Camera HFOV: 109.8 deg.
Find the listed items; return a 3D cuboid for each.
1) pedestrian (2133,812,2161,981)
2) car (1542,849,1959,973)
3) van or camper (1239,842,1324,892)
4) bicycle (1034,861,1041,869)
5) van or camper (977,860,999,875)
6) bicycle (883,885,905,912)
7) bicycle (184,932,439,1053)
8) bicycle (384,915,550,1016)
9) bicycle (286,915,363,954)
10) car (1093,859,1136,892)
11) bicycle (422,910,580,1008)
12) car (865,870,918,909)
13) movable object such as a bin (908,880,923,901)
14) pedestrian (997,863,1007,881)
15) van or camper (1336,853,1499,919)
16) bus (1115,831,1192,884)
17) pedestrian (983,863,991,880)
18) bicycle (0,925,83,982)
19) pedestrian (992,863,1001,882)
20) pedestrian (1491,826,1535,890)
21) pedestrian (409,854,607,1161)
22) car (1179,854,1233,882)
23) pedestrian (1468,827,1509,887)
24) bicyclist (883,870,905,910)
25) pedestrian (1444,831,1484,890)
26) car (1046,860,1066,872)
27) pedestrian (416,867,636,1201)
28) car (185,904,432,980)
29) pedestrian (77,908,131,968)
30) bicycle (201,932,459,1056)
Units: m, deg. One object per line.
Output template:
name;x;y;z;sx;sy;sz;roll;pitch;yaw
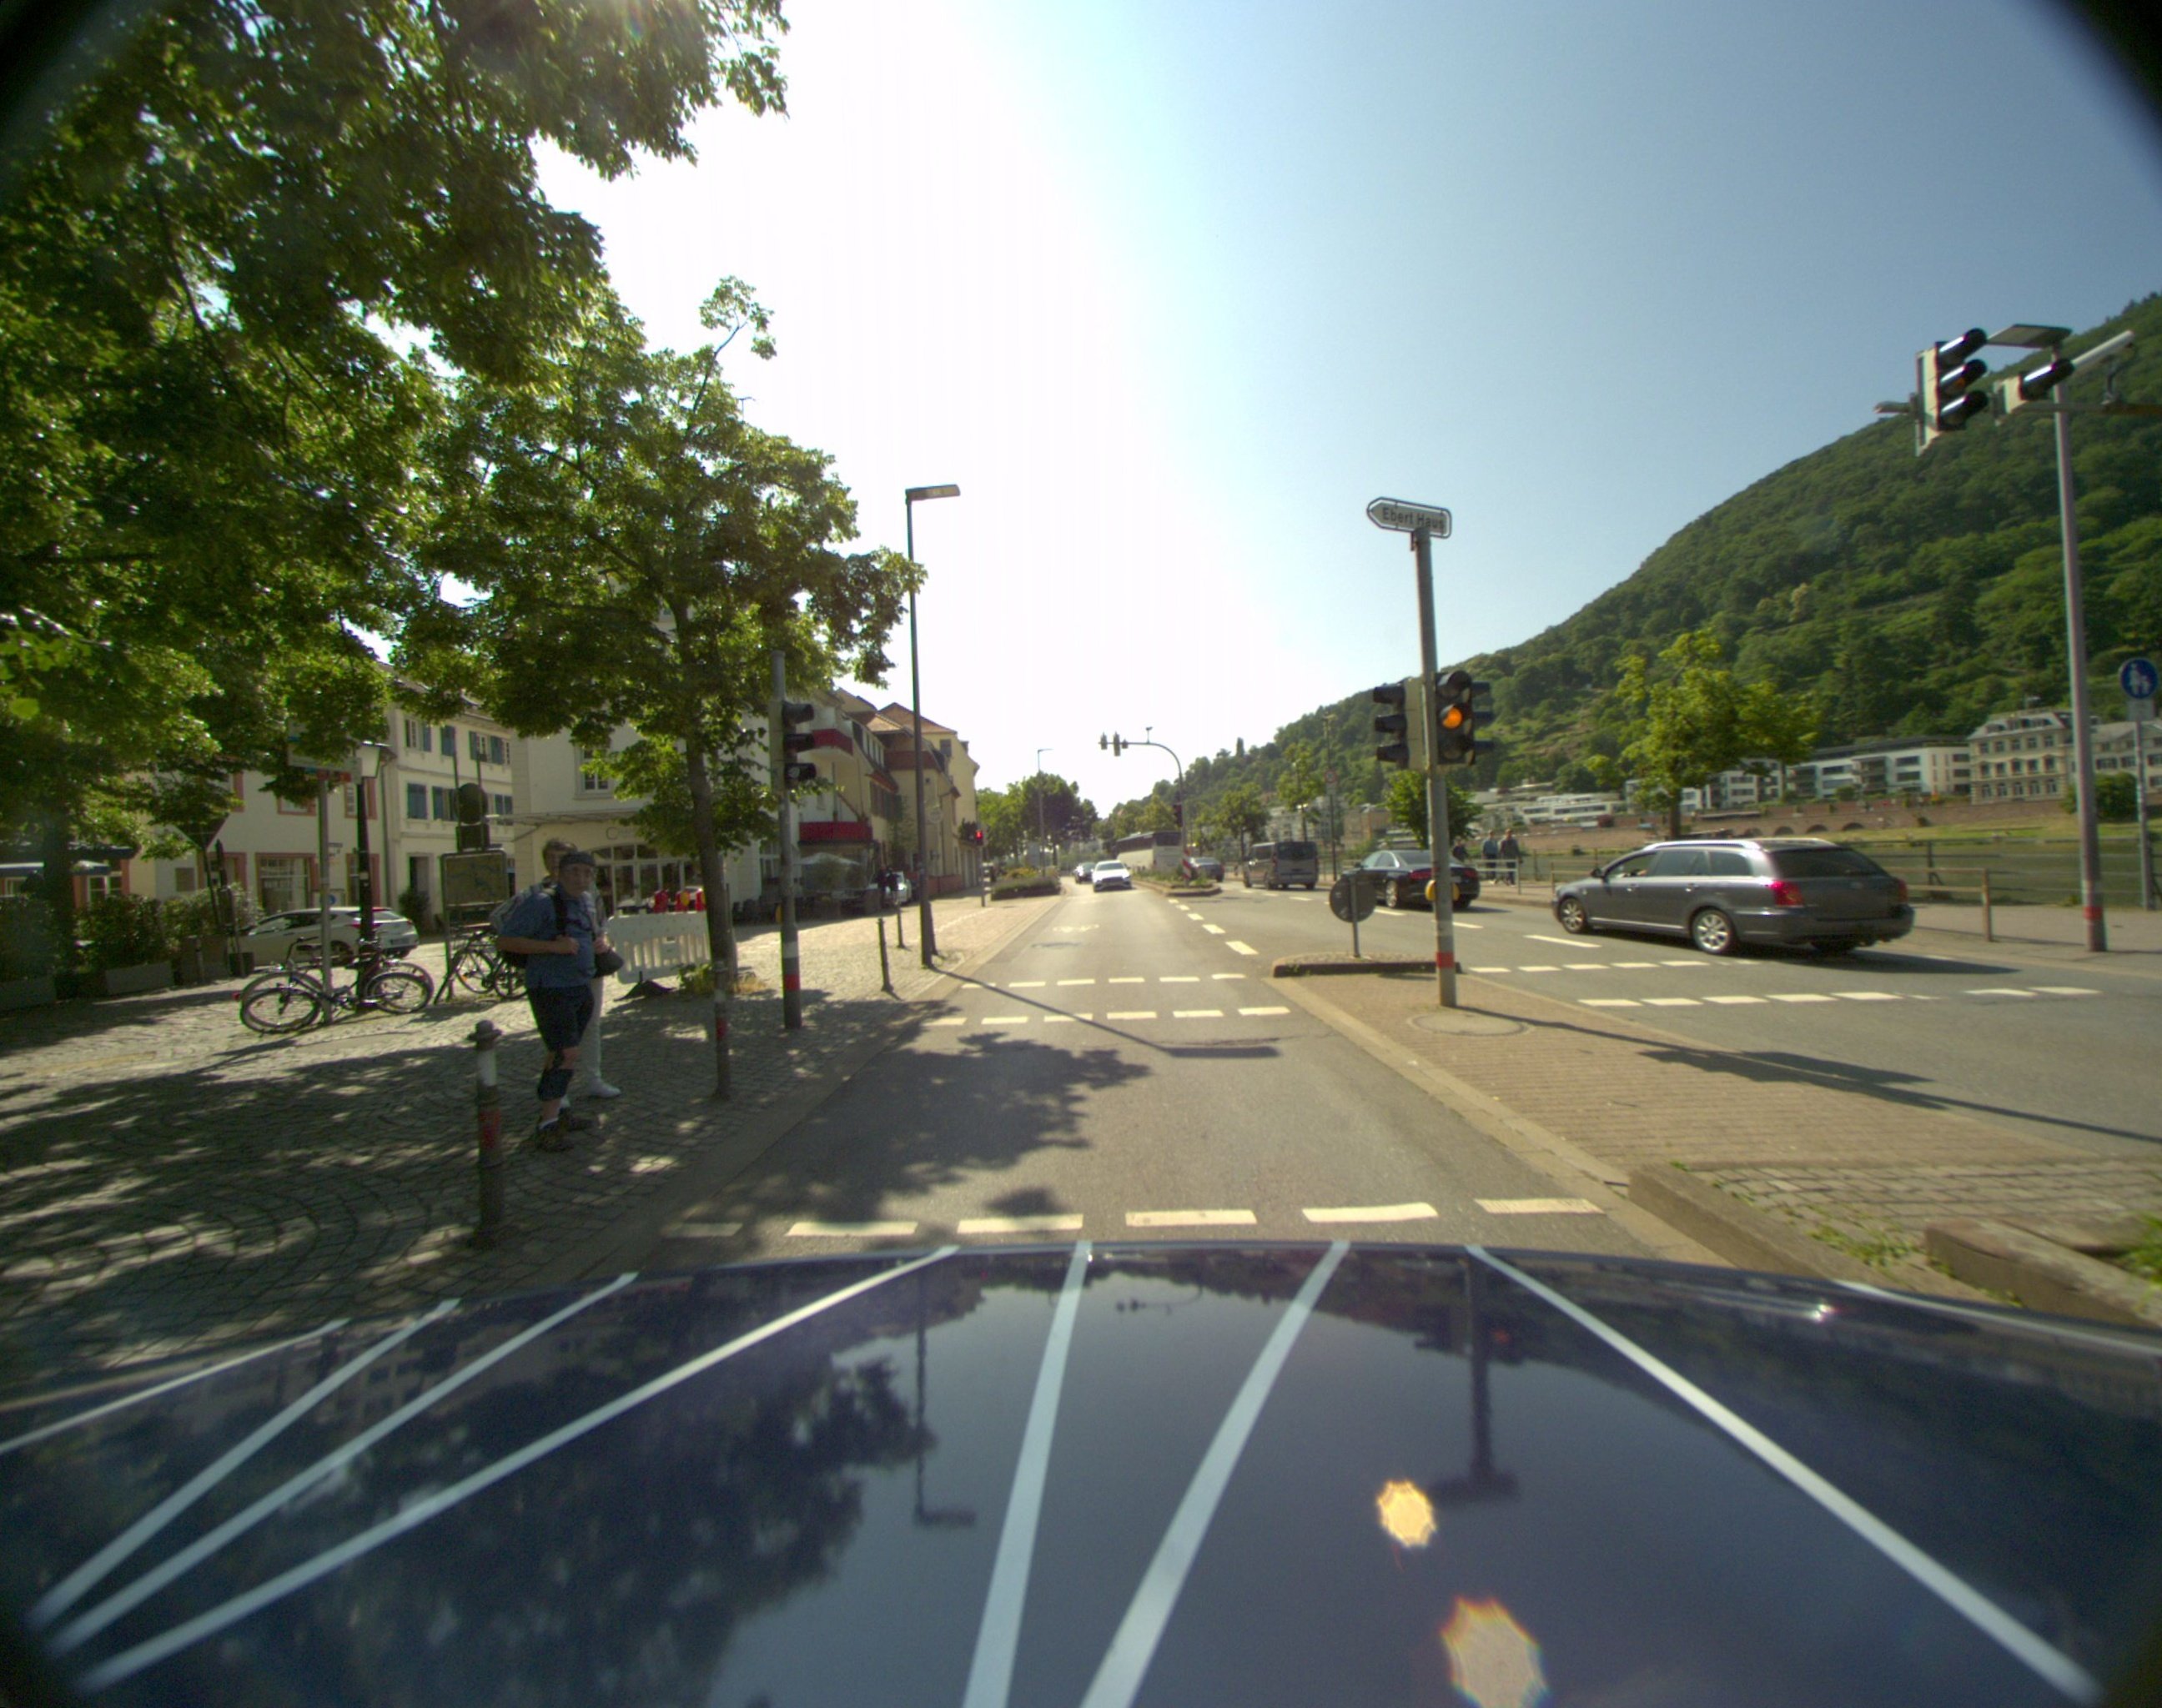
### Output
pedestrian;11.740;0.422;7.786;0.696;1.770;0.763;-8;1;-8
car;9.044;0.661;10.971;1.957;1.400;4.570;0;0;-1
van or camper;8.231;0.514;31.740;1.999;1.862;5.179;-2;0;-2
bicycle;-6.911;1.758;120.443;0.714;1.161;1.894;-3;-1;-12
van or camper;-15.254;2.259;124.493;2.440;2.271;6.196;-3;0;-17
bicycle;-7.617;1.810;31.026;0.752;0.958;1.780;-3;0;-12
bicycle;-9.106;1.577;9.140;0.595;1.061;2.068;-2;0;19
bicycle;-8.294;1.504;10.266;2.015;1.191;0.522;-4;0;11
bicycle;-26.638;2.821;26.774;1.880;1.185;0.639;-3;-1;-9
car;1.631;1.040;37.544;1.875;1.415;4.745;-4;-1;2
bicycle;-8.210;1.484;10.768;2.002;1.191;0.522;-5;-1;11
car;-8.784;1.582;35.543;1.883;1.568;4.724;-3;0;-9
movable object such as a bin;-8.492;1.882;39.084;0.642;1.061;0.365;-3;0;0
pedestrian;-7.189;1.647;69.351;0.764;1.586;0.695;-3;0;-8
van or camper;8.528;0.723;19.865;1.998;1.468;5.065;-1;0;0
bus;5.327;0.274;59.225;2.640;3.543;12.972;-3;0;-9
pedestrian;-9.841;1.833;79.180;0.764;1.703;0.695;0;0;-13
bicycle;-26.525;2.490;19.132;0.658;1.271;1.764;-2;-2;-11
pedestrian;-7.731;1.669;69.279;0.740;1.688;0.933;-2;0;-8
pedestrian;12.963;0.128;22.813;0.764;1.847;0.695;-5;0;-8
pedestrian;-3.584;0.894;4.826;0.696;1.761;0.763;-1;0;-8
car;7.367;0.792;45.404;1.999;1.589;5.155;0;0;-5
pedestrian;13.150;0.097;24.541;0.764;1.847;0.695;-5;0;-8
bicyclist;-7.622;1.448;30.916;0.769;1.574;1.088;-3;0;-14
pedestrian;12.235;0.217;24.274;0.764;1.793;0.695;-5;0;-8
car;-3.235;1.576;96.736;1.820;1.419;4.307;-1;-1;-11
pedestrian;-3.050;0.916;4.261;0.696;1.667;0.763;-1;0;-8
car;-18.970;2.127;18.826;3.998;1.446;1.833;-4;-2;-5
pedestrian;-30.755;2.635;23.928;0.696;1.788;0.763;-1;0;-8
bicycle;-8.641;1.554;8.896;0.595;1.061;2.068;-2;0;19
